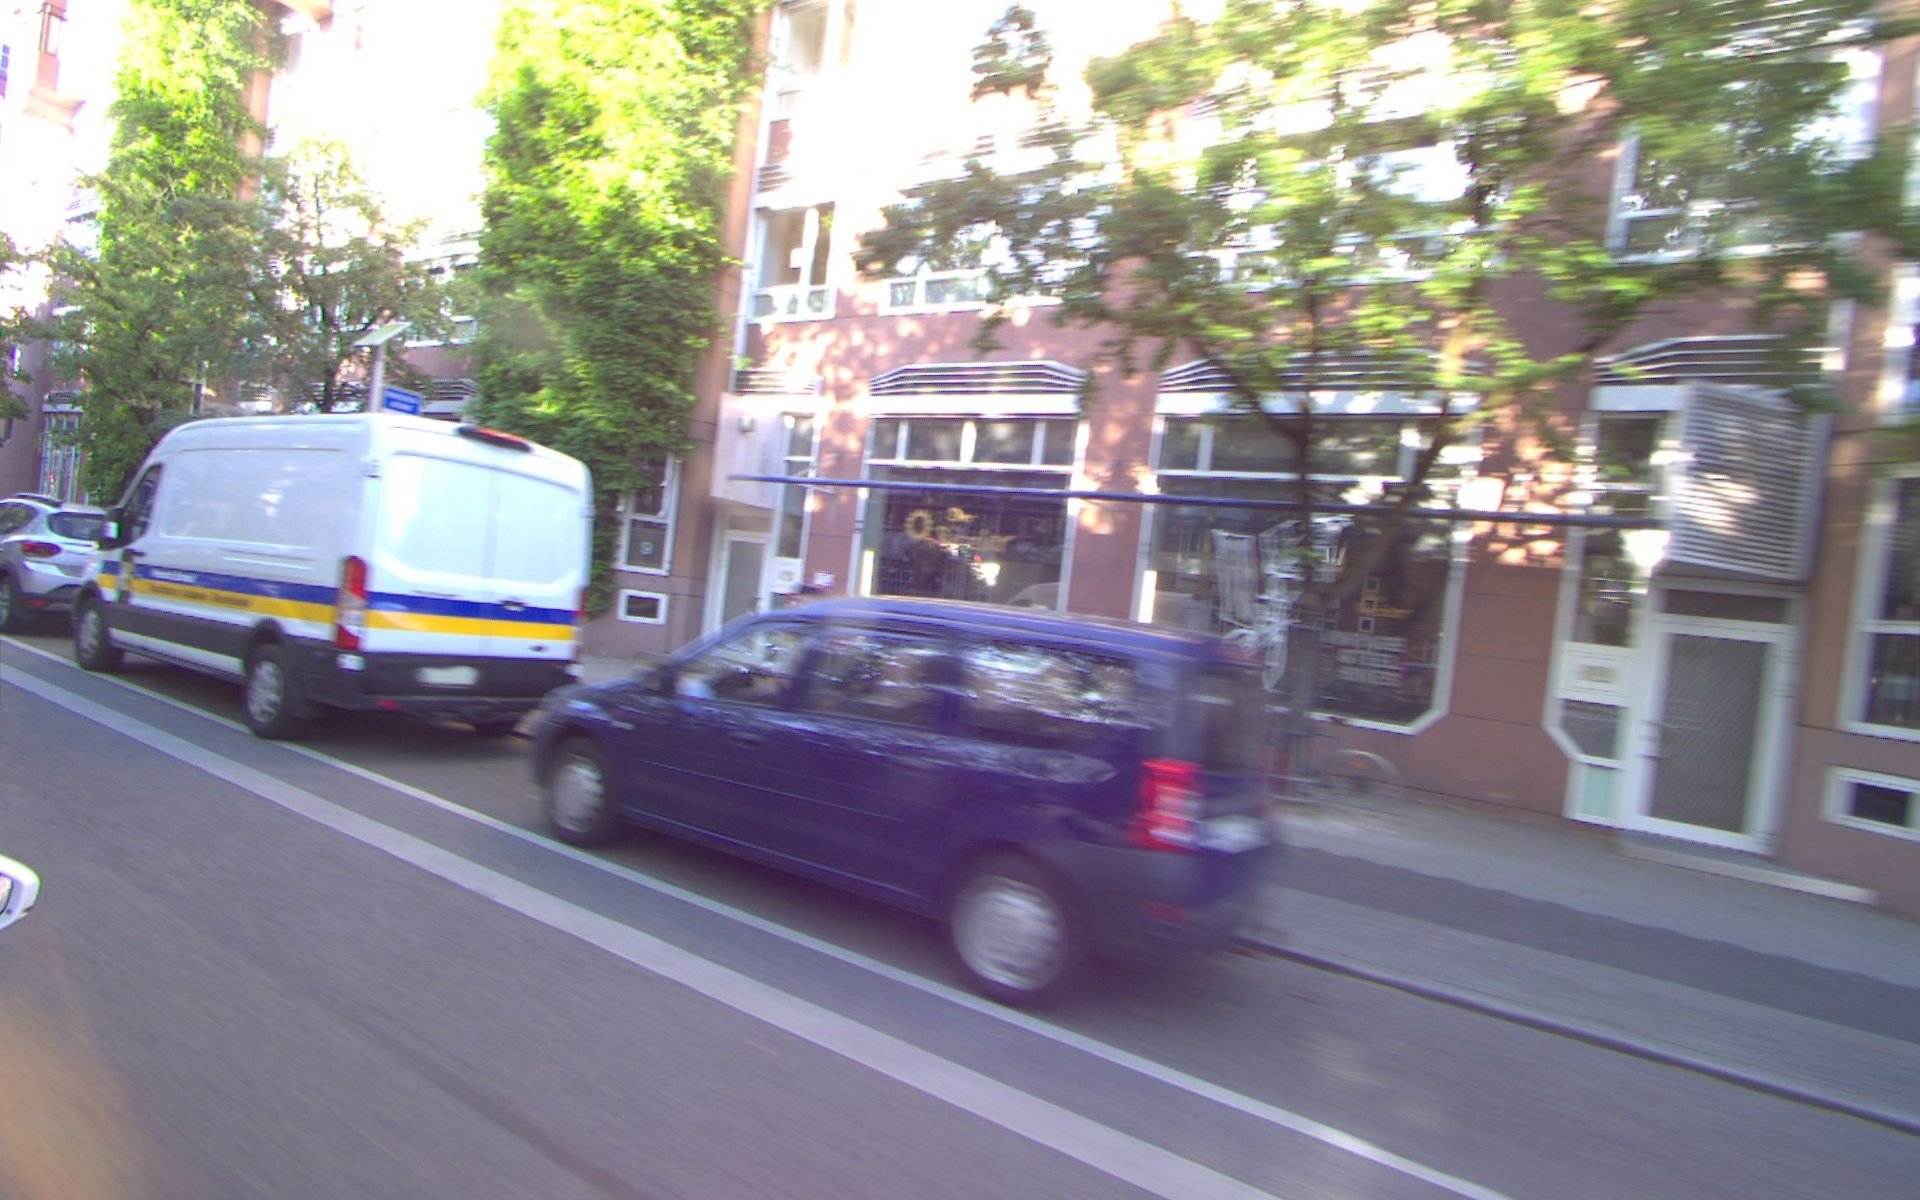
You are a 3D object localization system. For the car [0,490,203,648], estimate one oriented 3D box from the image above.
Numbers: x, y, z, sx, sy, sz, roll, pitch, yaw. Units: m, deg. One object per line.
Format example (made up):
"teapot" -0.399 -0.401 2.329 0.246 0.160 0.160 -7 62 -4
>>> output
"car" -11.281 -0.465 12.479 3.711 1.623 1.623 7 0 30

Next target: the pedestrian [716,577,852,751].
"pedestrian" -1.617 0.588 9.296 0.767 1.462 0.766 6 -1 31

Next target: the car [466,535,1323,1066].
"car" -0.563 0.712 5.492 4.411 1.639 1.622 7 0 32

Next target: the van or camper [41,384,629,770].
"van or camper" -5.826 -0.353 9.063 5.678 2.572 2.051 7 0 32

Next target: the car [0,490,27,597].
"car" -16.676 -1.103 15.989 3.711 1.630 1.623 7 0 30

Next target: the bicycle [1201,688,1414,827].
"bicycle" 3.493 1.544 10.143 1.879 1.033 0.619 7 0 25
